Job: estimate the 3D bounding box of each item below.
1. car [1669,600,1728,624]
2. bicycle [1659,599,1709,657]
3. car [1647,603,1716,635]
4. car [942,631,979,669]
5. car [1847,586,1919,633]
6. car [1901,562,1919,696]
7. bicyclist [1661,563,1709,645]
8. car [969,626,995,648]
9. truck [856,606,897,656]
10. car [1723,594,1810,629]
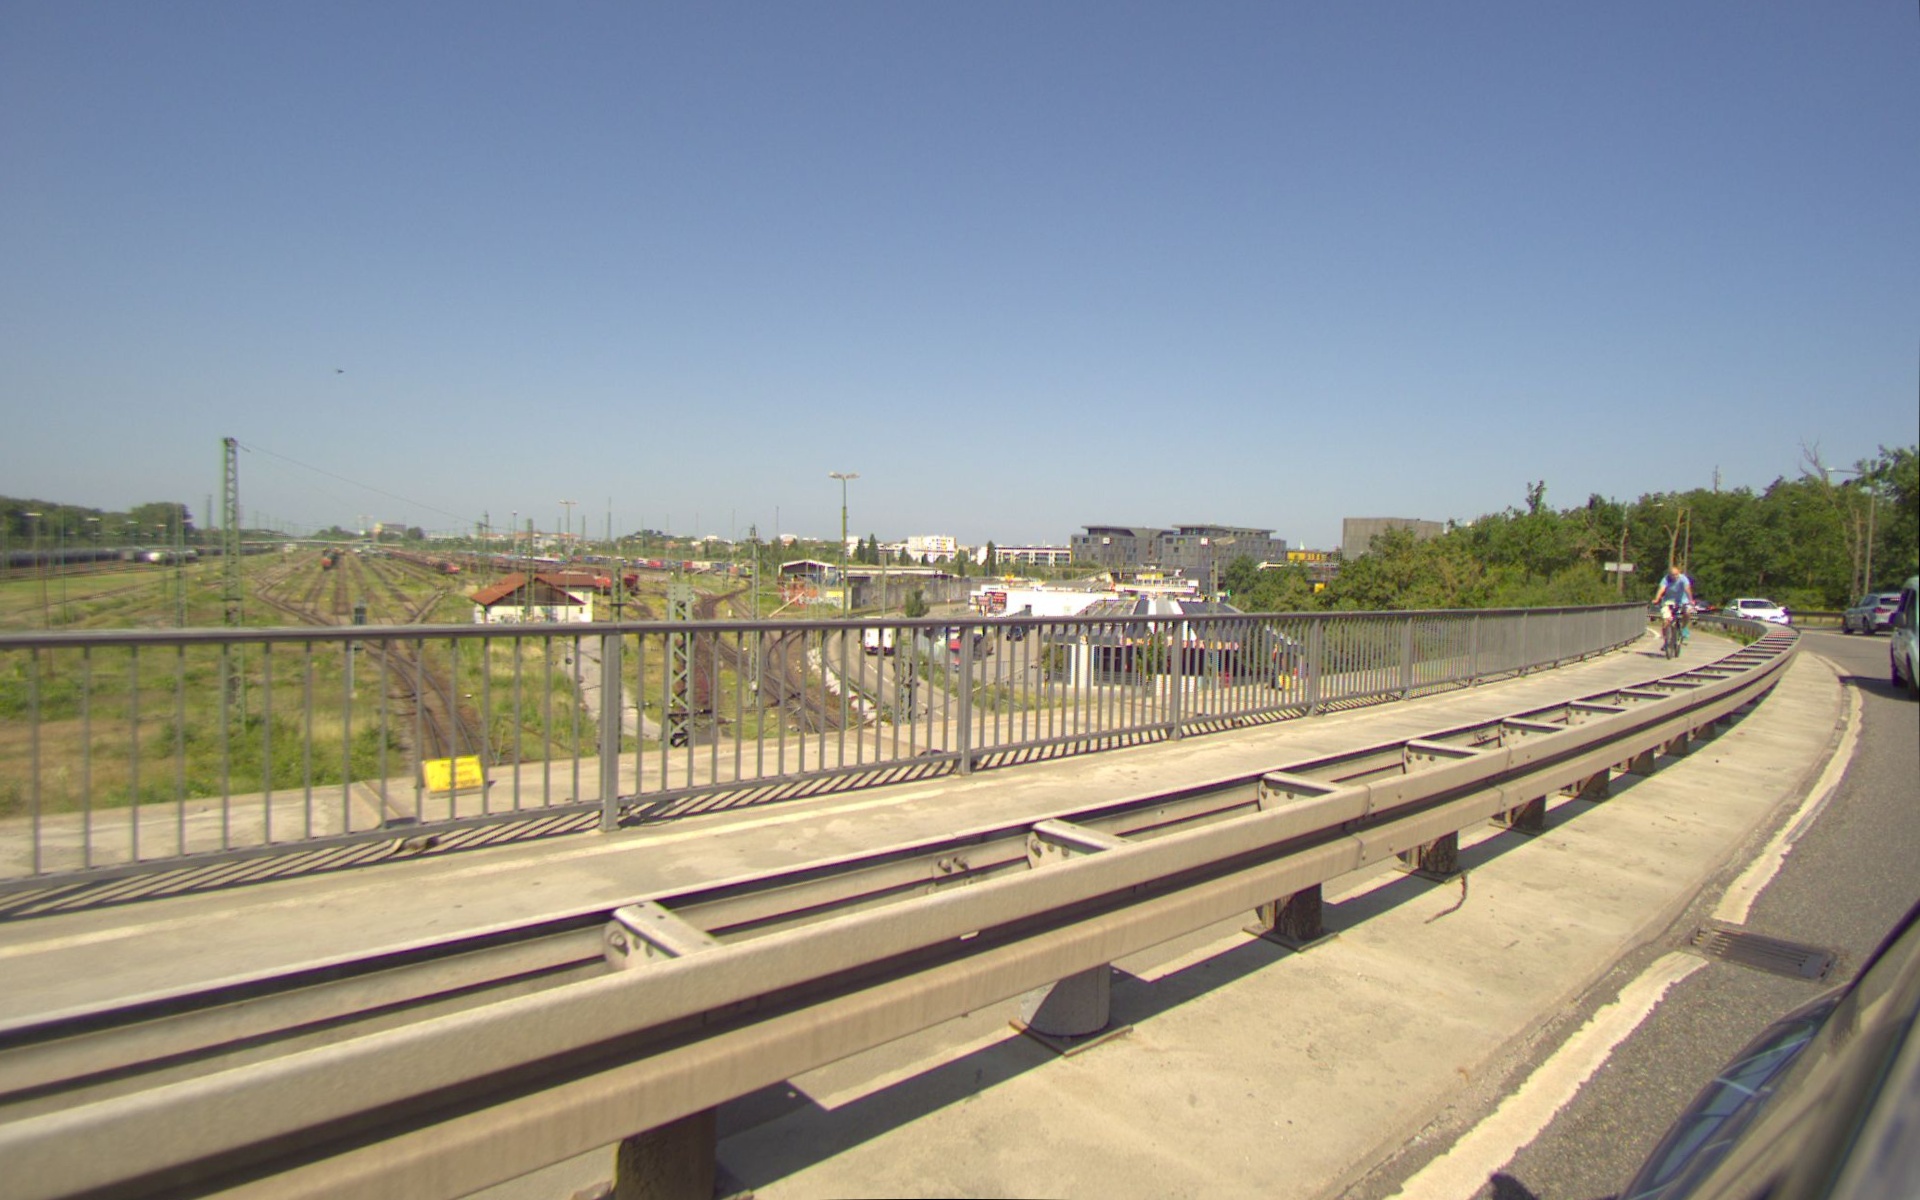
[{"bbox_3d":[47.727,0.773,65.511,1.720,1.476,4.275,1,-1,17],"label":"car"},{"bbox_3d":[14.253,0.526,19.954,0.700,1.032,1.822,5,3,35],"label":"bicycle"},{"bbox_3d":[41.402,1.060,58.155,1.973,1.605,3.976,-5,-2,18],"label":"car"},{"bbox_3d":[0.115,4.340,88.209,2.270,2.695,5.367,-4,2,9],"label":"car"},{"bbox_3d":[36.680,0.332,39.642,1.846,1.703,4.431,-1,1,27],"label":"car"},{"bbox_3d":[15.106,0.385,14.813,1.891,1.818,4.379,0,0,42],"label":"car"},{"bbox_3d":[14.158,0.061,19.781,0.656,1.538,0.793,4,3,36],"label":"bicyclist"},{"bbox_3d":[2.205,3.649,100.826,1.967,1.894,3.990,-4,-1,9],"label":"car"},{"bbox_3d":[-8.489,2.979,103.131,3.747,4.079,13.287,3,1,-4],"label":"truck"},{"bbox_3d":[36.357,0.498,45.738,1.824,1.507,4.124,0,0,20],"label":"car"}]
